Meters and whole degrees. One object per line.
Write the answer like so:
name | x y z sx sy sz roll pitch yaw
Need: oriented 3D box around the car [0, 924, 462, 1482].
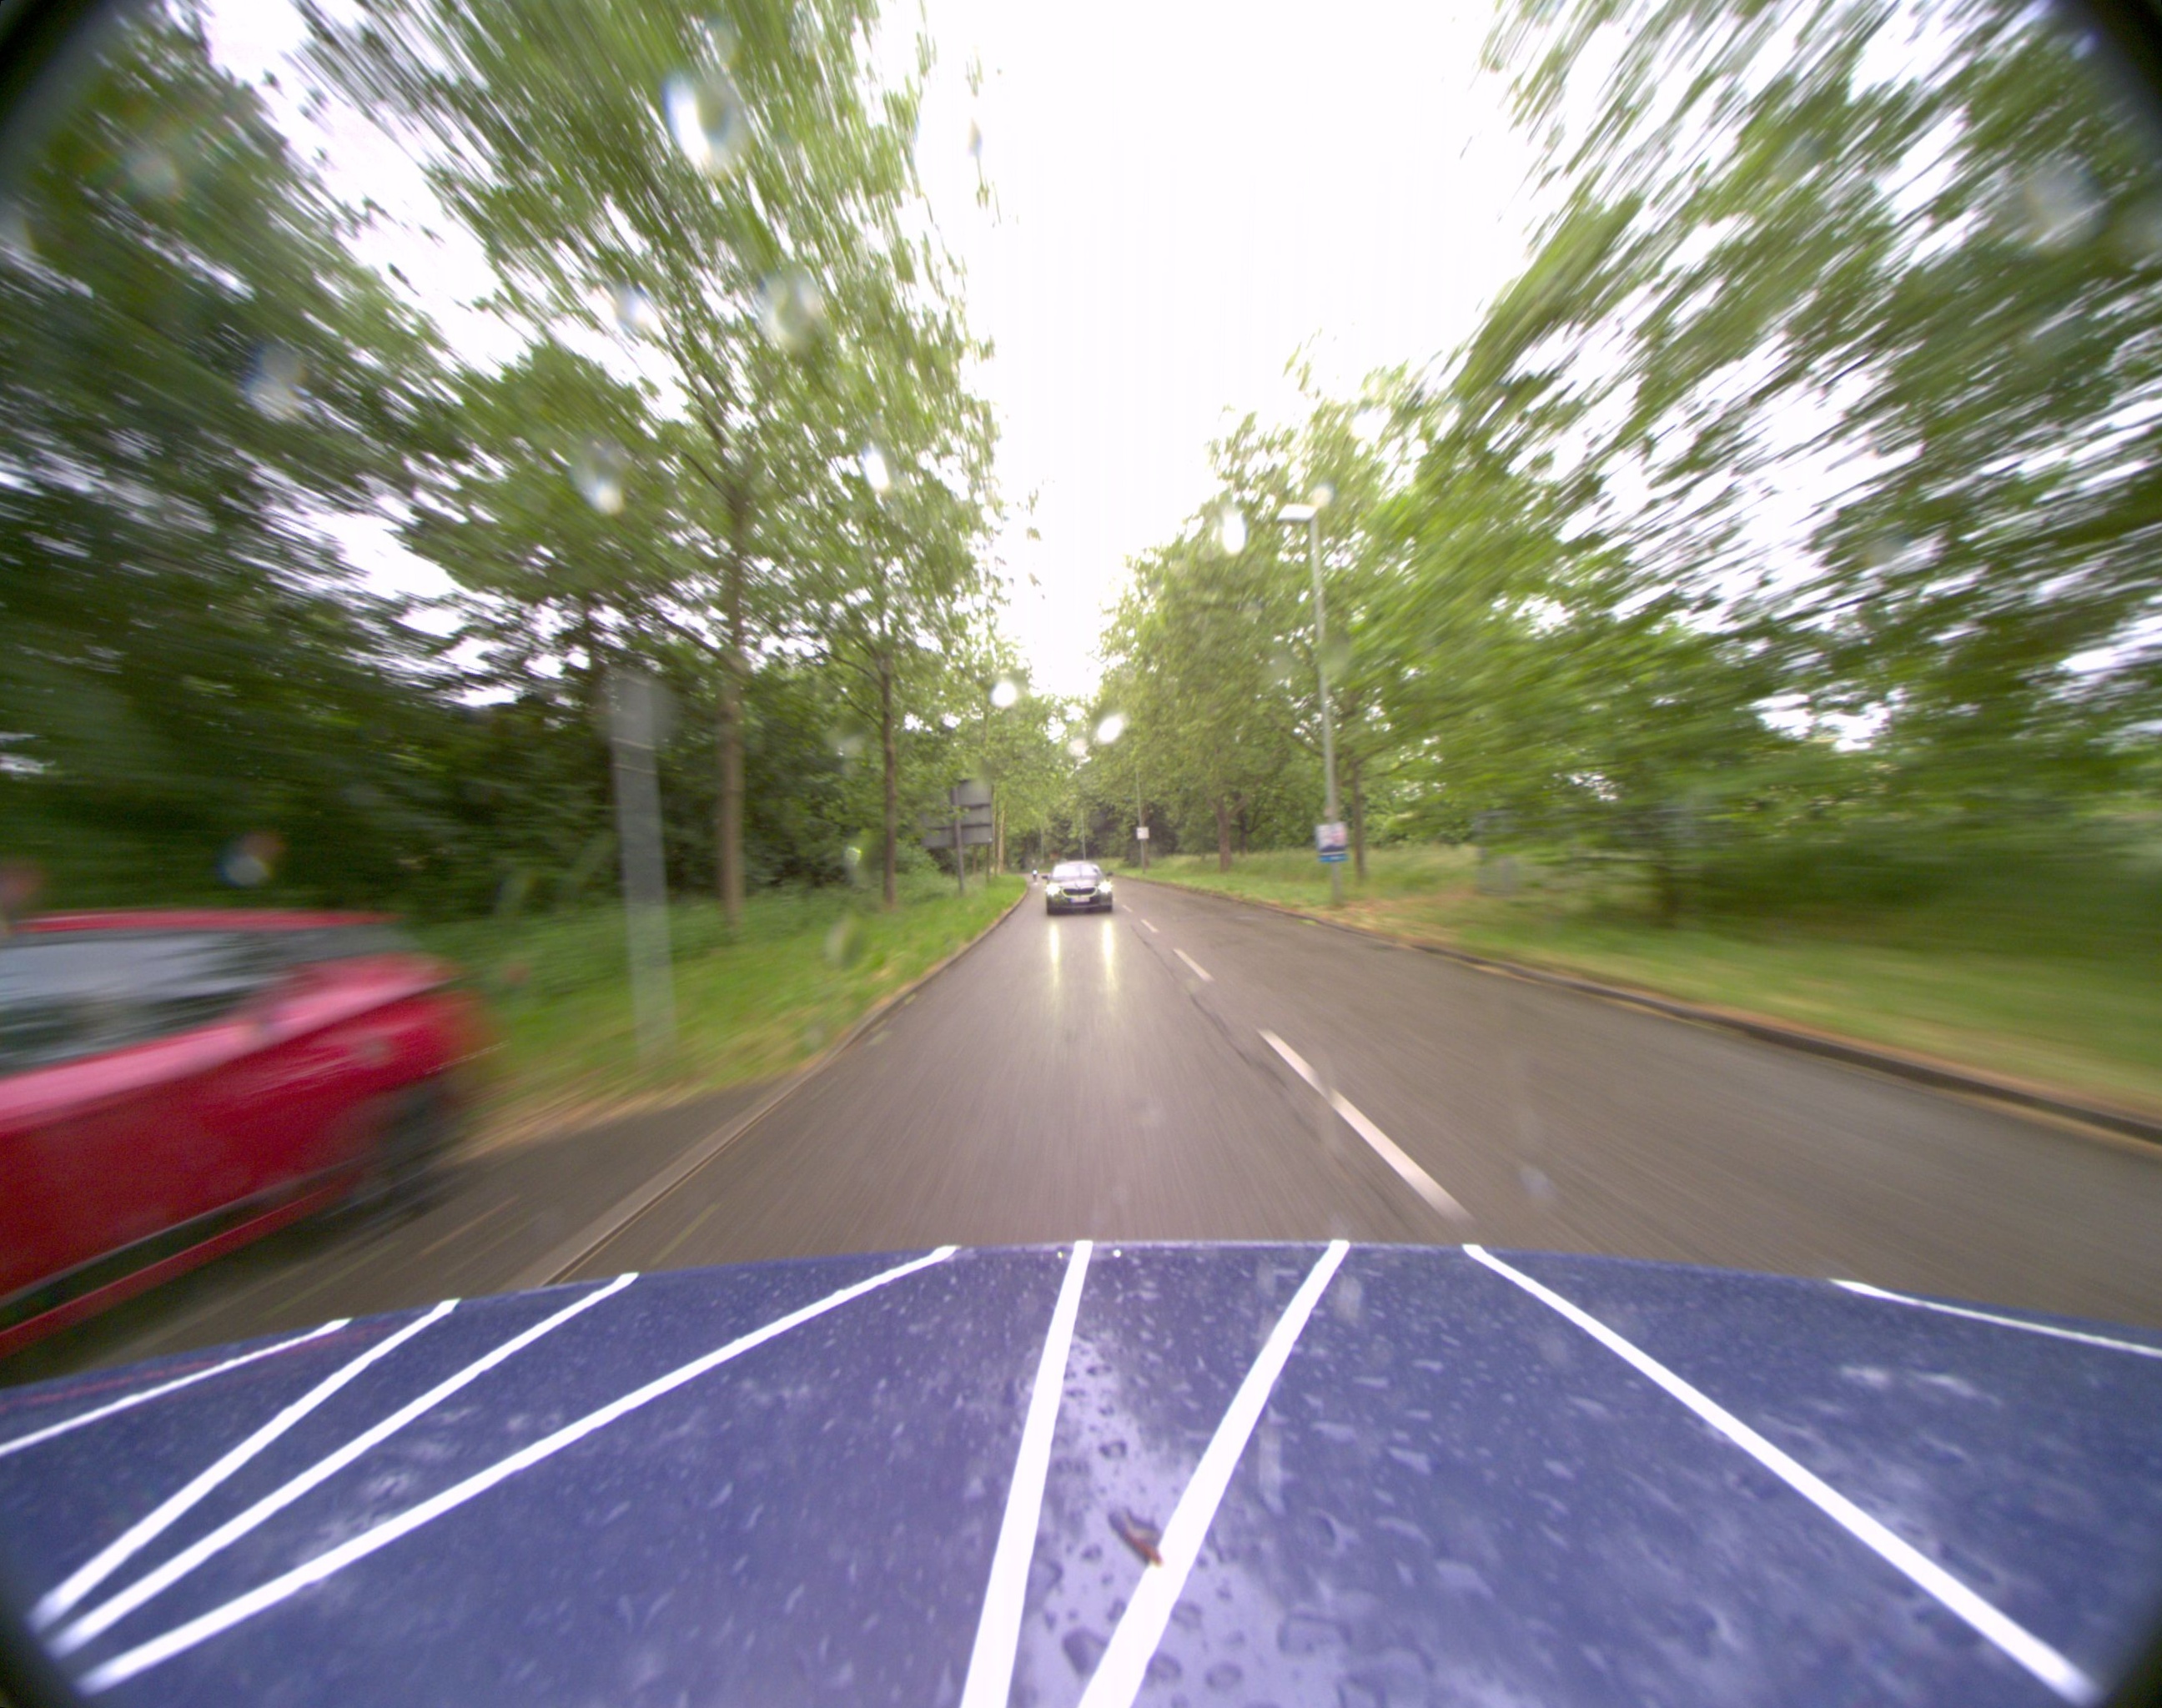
car | -3.861 1.059 1.701 1.801 1.364 3.743 -2 1 0

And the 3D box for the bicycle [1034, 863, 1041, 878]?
bicycle | -3.650 1.382 63.335 0.453 1.127 1.832 -5 1 -4

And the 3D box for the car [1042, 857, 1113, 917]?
car | -0.001 0.912 23.324 1.843 1.486 4.902 -4 0 2

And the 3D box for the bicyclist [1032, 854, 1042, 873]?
bicyclist | -3.650 0.771 63.336 0.698 1.489 0.800 -4 1 -4
